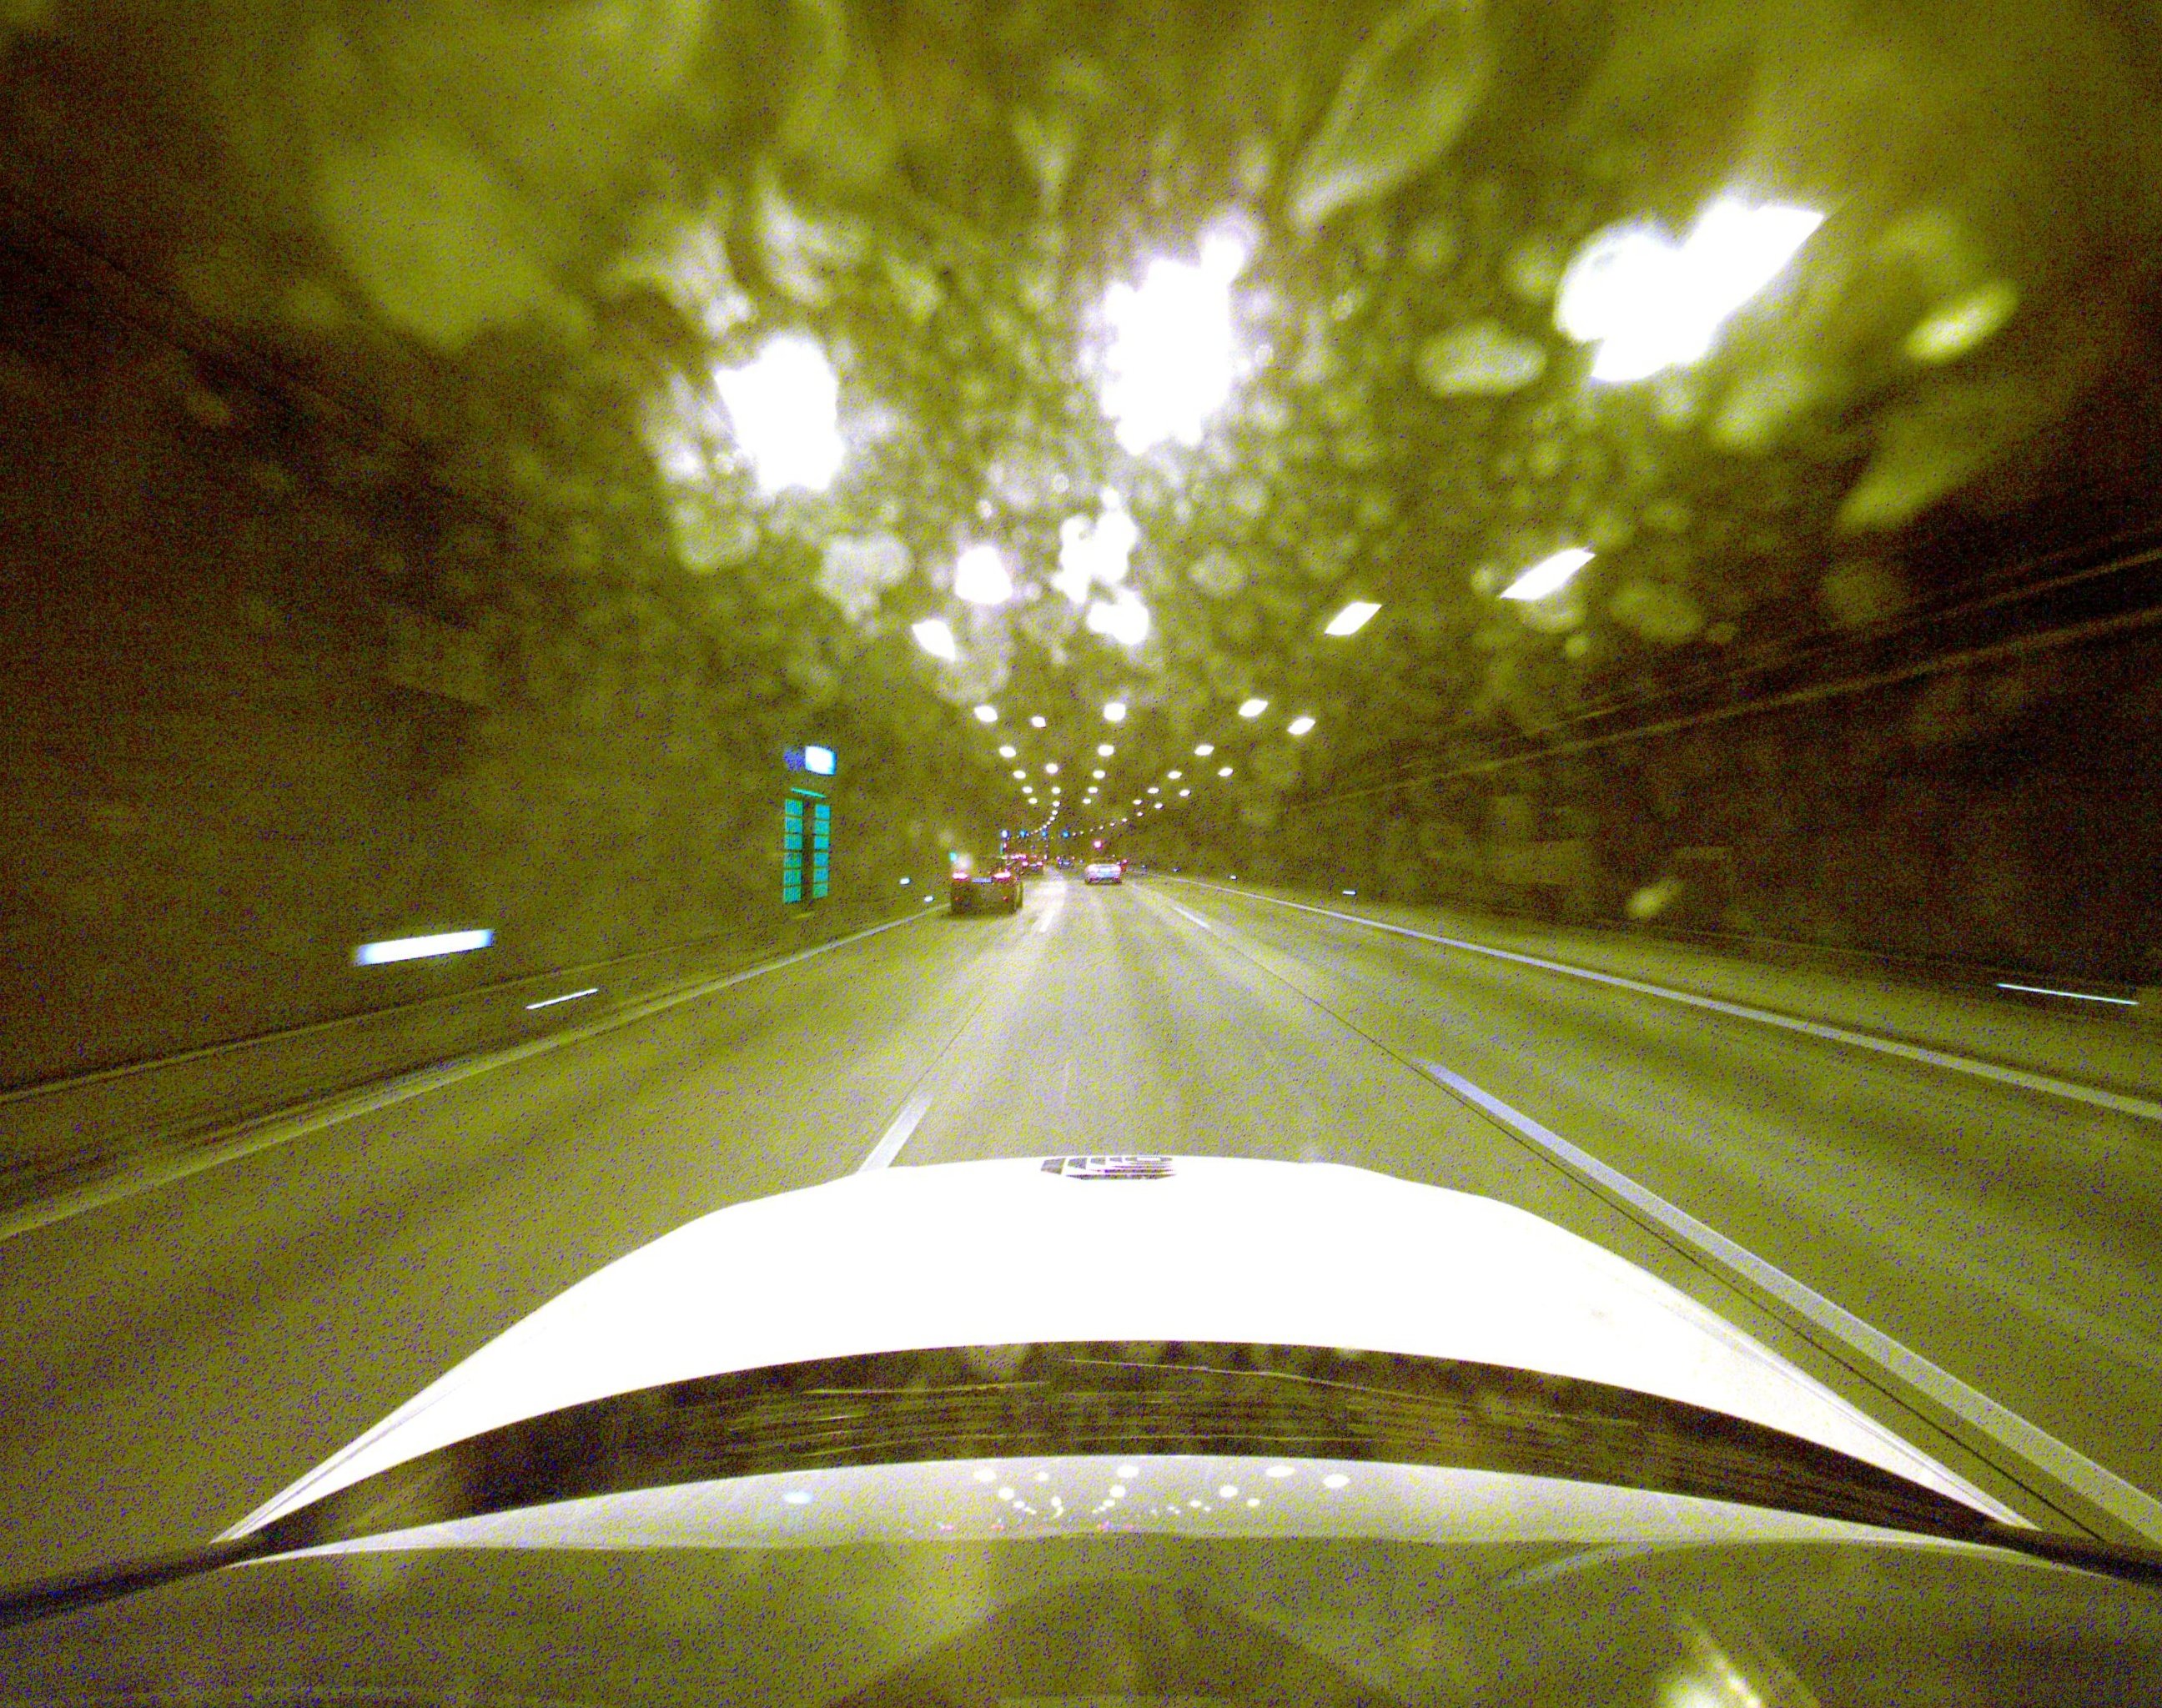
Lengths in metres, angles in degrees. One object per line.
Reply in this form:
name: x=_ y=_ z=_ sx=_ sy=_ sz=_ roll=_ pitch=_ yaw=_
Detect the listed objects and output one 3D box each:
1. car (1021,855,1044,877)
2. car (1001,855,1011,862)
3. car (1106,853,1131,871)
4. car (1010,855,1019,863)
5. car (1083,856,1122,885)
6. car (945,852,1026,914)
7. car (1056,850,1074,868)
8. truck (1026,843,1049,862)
car: x=-4.006 y=0.952 z=66.784 sx=1.797 sy=1.684 sz=3.995 roll=0 pitch=0 yaw=-4
car: x=-16.065 y=1.020 z=174.020 sx=1.992 sy=1.530 sz=3.989 roll=0 pitch=-1 yaw=-8
car: x=3.337 y=0.702 z=72.820 sx=1.835 sy=1.602 sz=3.996 roll=0 pitch=0 yaw=-2
car: x=-15.736 y=1.246 z=191.881 sx=1.992 sy=1.754 sz=3.990 roll=0 pitch=-1 yaw=-7
car: x=1.168 y=0.838 z=43.142 sx=1.986 sy=1.483 sz=4.002 roll=0 pitch=0 yaw=2
car: x=-2.616 y=0.767 z=23.209 sx=1.779 sy=1.598 sz=3.801 roll=-1 pitch=0 yaw=1
car: x=-1.790 y=0.587 z=92.770 sx=1.988 sy=1.972 sz=3.997 roll=-1 pitch=0 yaw=-2
truck: x=-7.579 y=-0.374 z=141.112 sx=3.082 sy=3.113 sz=9.999 roll=1 pitch=1 yaw=-9
